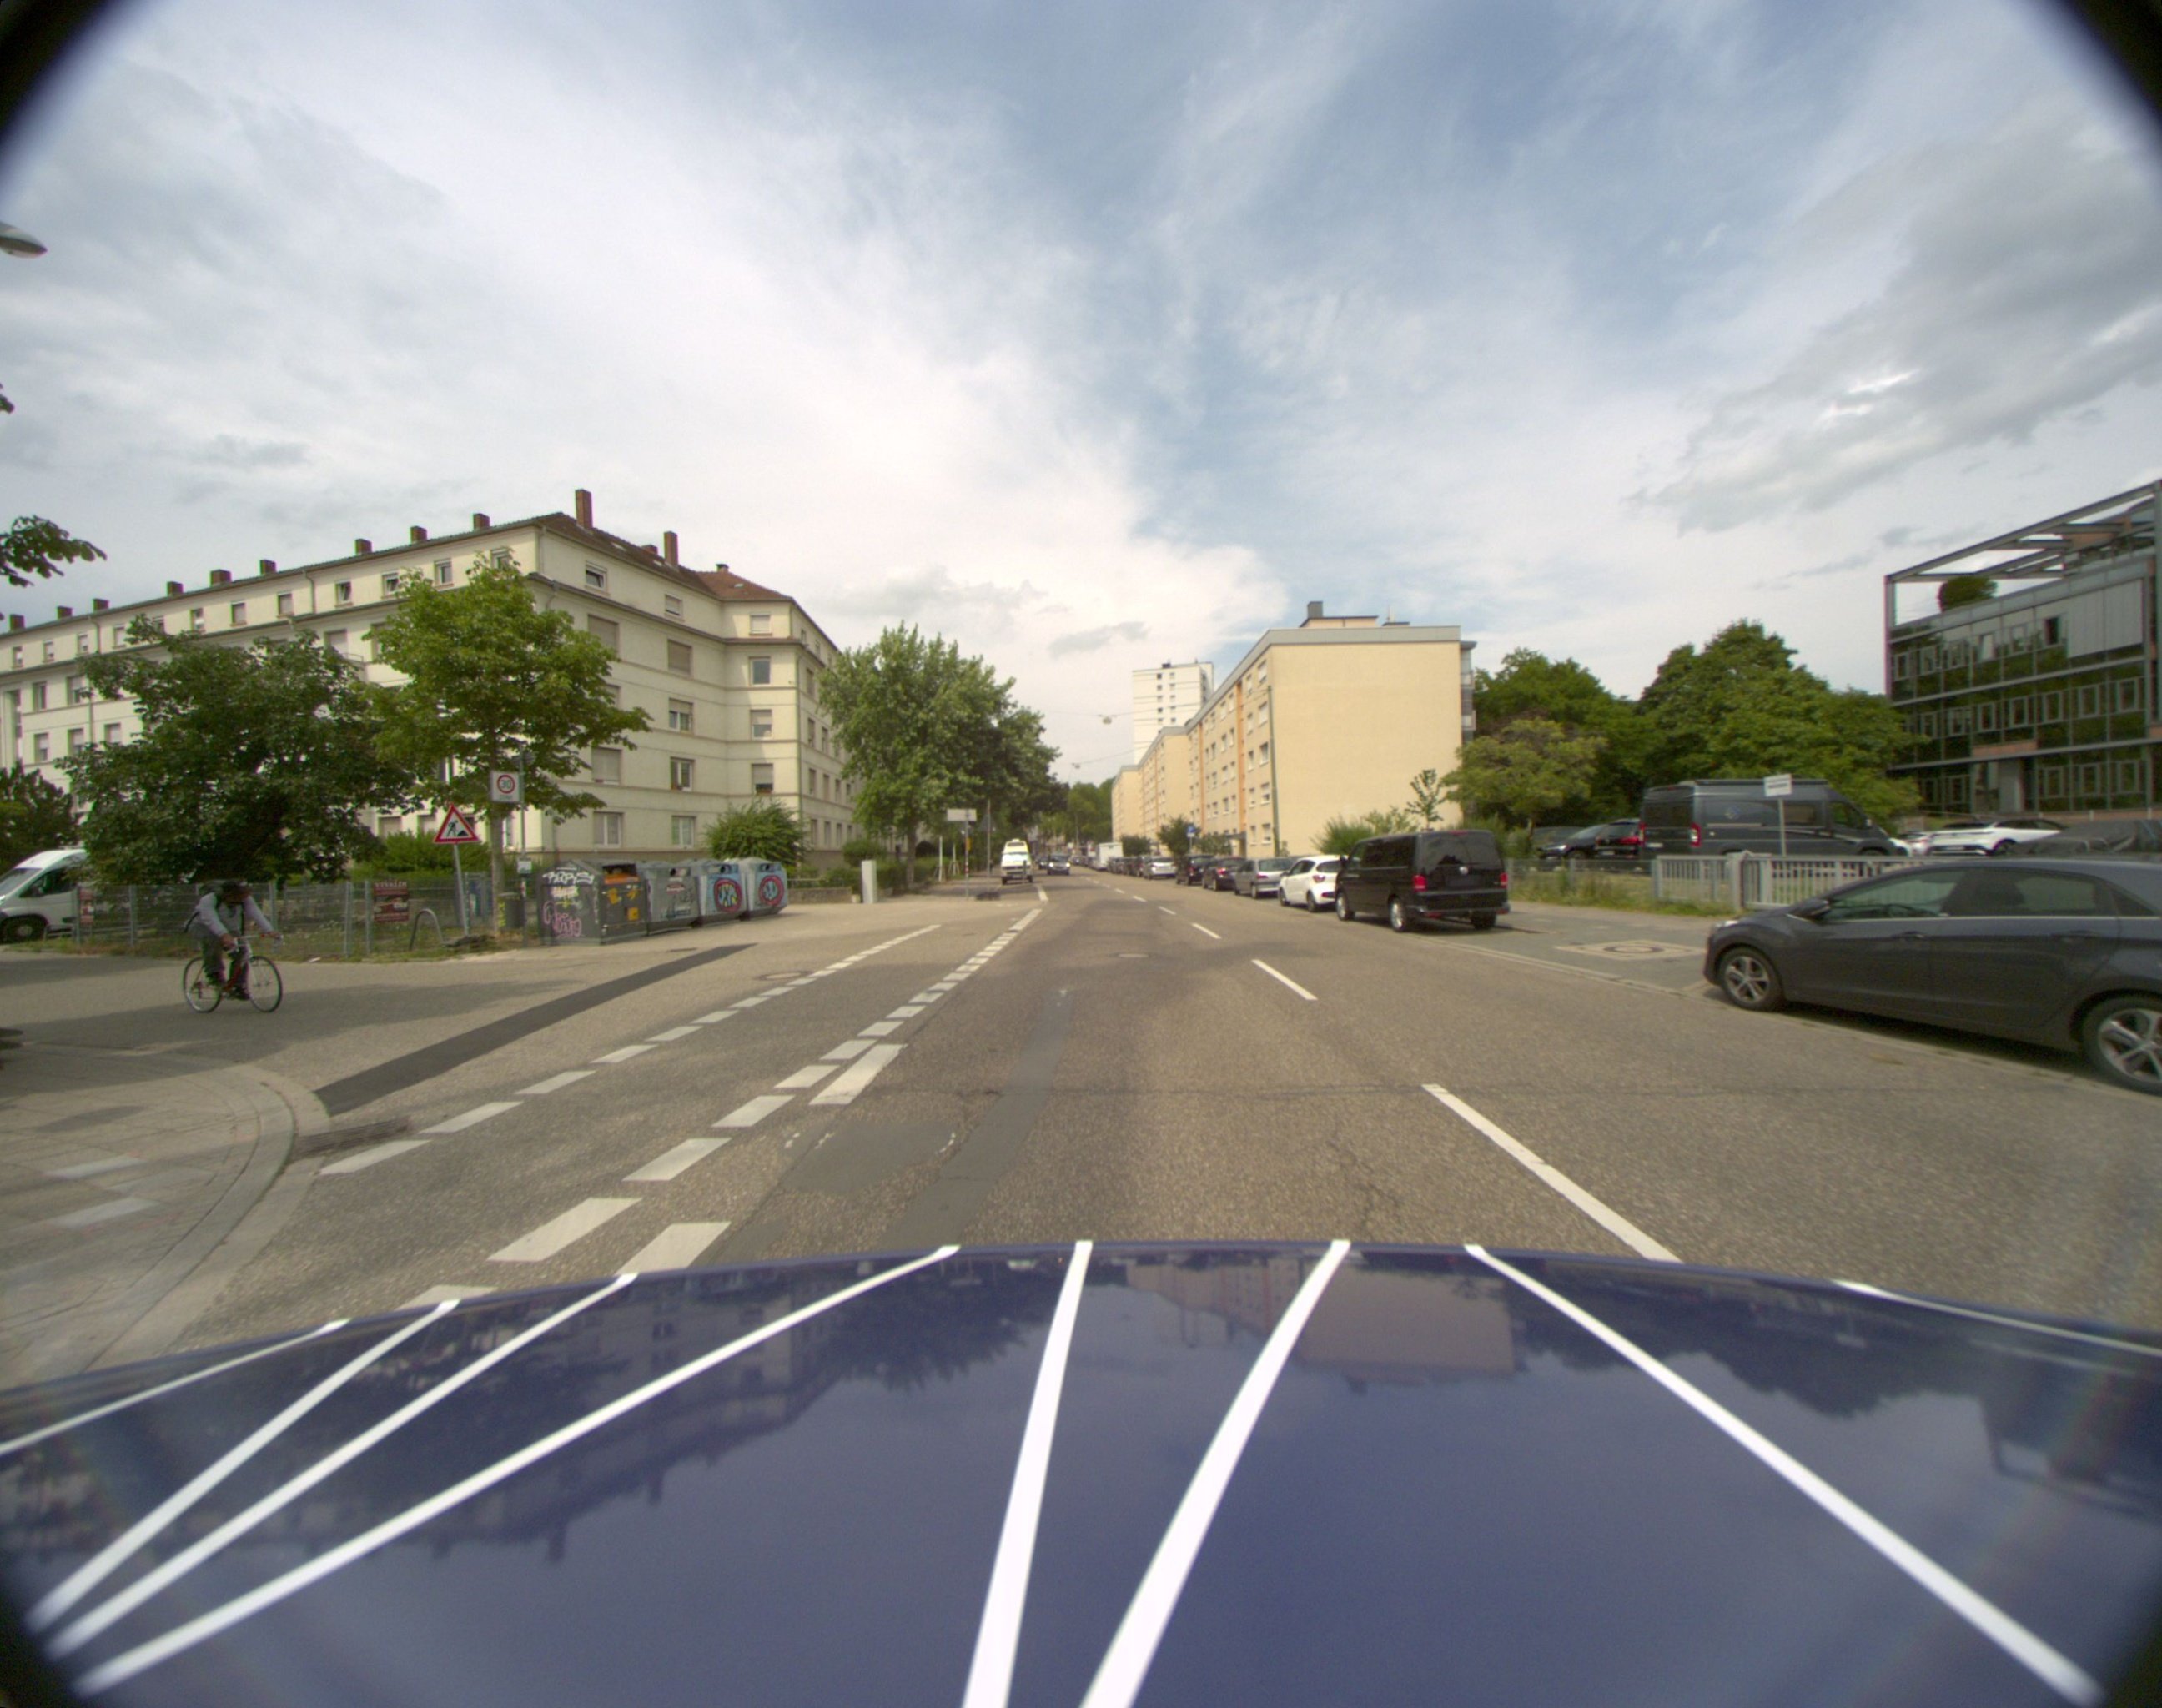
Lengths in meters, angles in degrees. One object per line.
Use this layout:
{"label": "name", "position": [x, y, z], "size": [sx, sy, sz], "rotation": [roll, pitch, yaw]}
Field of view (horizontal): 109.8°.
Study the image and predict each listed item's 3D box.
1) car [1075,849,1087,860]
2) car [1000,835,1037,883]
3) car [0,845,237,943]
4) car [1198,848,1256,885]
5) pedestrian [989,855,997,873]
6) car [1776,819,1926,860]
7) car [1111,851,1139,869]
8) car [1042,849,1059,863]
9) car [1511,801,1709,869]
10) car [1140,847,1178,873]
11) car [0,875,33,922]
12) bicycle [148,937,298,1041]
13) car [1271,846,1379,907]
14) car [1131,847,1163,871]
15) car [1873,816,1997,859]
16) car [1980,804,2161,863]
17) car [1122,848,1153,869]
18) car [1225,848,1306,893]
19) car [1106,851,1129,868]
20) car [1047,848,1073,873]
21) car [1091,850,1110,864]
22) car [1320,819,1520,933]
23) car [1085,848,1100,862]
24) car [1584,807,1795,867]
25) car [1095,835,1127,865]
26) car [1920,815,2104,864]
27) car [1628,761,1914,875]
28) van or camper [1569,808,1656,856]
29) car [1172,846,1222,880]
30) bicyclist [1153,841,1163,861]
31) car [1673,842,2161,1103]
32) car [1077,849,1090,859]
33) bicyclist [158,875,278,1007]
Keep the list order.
{"label": "car", "position": [-0.021, 0.080, 125.829], "size": [1.806, 1.625, 3.893], "rotation": [0, 1, -3]}
{"label": "car", "position": [-3.687, 0.252, 45.389], "size": [1.900, 2.587, 4.902], "rotation": [-4, 1, -3]}
{"label": "car", "position": [-28.511, 1.075, 21.902], "size": [1.897, 2.439, 5.112], "rotation": [-3, 1, 20]}
{"label": "car", "position": [6.311, 0.511, 33.225], "size": [1.691, 1.462, 4.047], "rotation": [-2, 1, -1]}
{"label": "pedestrian", "position": [-8.832, 0.966, 76.235], "size": [0.808, 1.793, 0.763], "rotation": [0, 1, -3]}
{"label": "car", "position": [30.540, -0.577, 30.225], "size": [3.997, 1.474, 1.969], "rotation": [-1, 1, -1]}
{"label": "car", "position": [3.854, 0.495, 66.541], "size": [1.723, 1.498, 4.622], "rotation": [-1, 1, -6]}
{"label": "car", "position": [-3.648, 0.217, 89.849], "size": [1.999, 1.656, 3.998], "rotation": [0, 1, -3]}
{"label": "car", "position": [17.729, -0.600, 25.672], "size": [5.097, 2.137, 2.228], "rotation": [-1, 0, 2]}
{"label": "car", "position": [5.055, 0.376, 49.560], "size": [1.791, 1.554, 4.550], "rotation": [-3, 0, -2]}
{"label": "car", "position": [-39.011, 1.672, 25.596], "size": [1.796, 1.580, 3.923], "rotation": [-3, 1, 20]}
{"label": "bicycle", "position": [-9.919, 1.495, 8.751], "size": [2.473, 0.927, 0.716], "rotation": [-2, 0, 32]}
{"label": "car", "position": [6.841, 0.594, 21.699], "size": [1.658, 1.520, 3.764], "rotation": [-2, 0, -3]}
{"label": "car", "position": [4.765, 0.339, 55.322], "size": [1.722, 1.615, 3.837], "rotation": [-1, 1, -5]}
{"label": "car", "position": [41.941, -0.793, 37.398], "size": [3.721, 2.002, 1.971], "rotation": [0, 1, 5]}
{"label": "car", "position": [30.688, -0.596, 22.753], "size": [4.703, 1.654, 2.330], "rotation": [0, 1, 1]}
{"label": "car", "position": [4.397, 0.343, 60.101], "size": [1.682, 1.495, 4.261], "rotation": [-2, 1, -6]}
{"label": "car", "position": [6.531, 0.556, 27.405], "size": [1.692, 1.448, 4.262], "rotation": [-2, 0, -3]}
{"label": "car", "position": [3.446, 0.505, 72.339], "size": [1.617, 1.475, 4.056], "rotation": [0, 1, -4]}
{"label": "car", "position": [-1.783, 0.493, 63.149], "size": [1.999, 2.002, 3.998], "rotation": [0, 1, -3]}
{"label": "car", "position": [2.294, 0.307, 91.002], "size": [1.853, 1.623, 4.216], "rotation": [0, 1, -3]}
{"label": "car", "position": [6.955, 0.394, 16.275], "size": [1.954, 1.992, 4.842], "rotation": [-3, 0, -1]}
{"label": "car", "position": [1.500, 0.101, 102.994], "size": [1.724, 1.787, 3.893], "rotation": [0, 1, -3]}
{"label": "car", "position": [18.146, -0.489, 22.844], "size": [4.708, 1.608, 2.001], "rotation": [-1, 0, 1]}
{"label": "car", "position": [3.035, -0.395, 78.971], "size": [2.622, 3.040, 7.111], "rotation": [0, 0, -3]}
{"label": "car", "position": [30.897, -0.491, 25.287], "size": [4.166, 1.474, 1.616], "rotation": [-1, 1, -1]}
{"label": "car", "position": [18.141, -0.909, 20.225], "size": [5.324, 2.537, 2.354], "rotation": [-3, 1, 1]}
{"label": "van or camper", "position": [34.504, -1.374, 49.532], "size": [1.998, 2.856, 4.901], "rotation": [5, 0, 0]}
{"label": "car", "position": [5.854, 0.417, 38.798], "size": [1.627, 1.566, 3.998], "rotation": [-1, 1, -5]}
{"label": "bicyclist", "position": [6.243, -0.215, 61.897], "size": [0.616, 1.599, 0.765], "rotation": [-3, 1, -3]}
{"label": "car", "position": [7.237, 0.690, 5.862], "size": [1.827, 1.464, 4.296], "rotation": [-3, 0, -2]}
{"label": "car", "position": [0.320, 0.005, 120.854], "size": [1.806, 1.625, 3.893], "rotation": [0, 1, -3]}
{"label": "bicyclist", "position": [-9.984, 0.982, 8.790], "size": [1.078, 1.404, 0.716], "rotation": [-4, -1, 32]}
